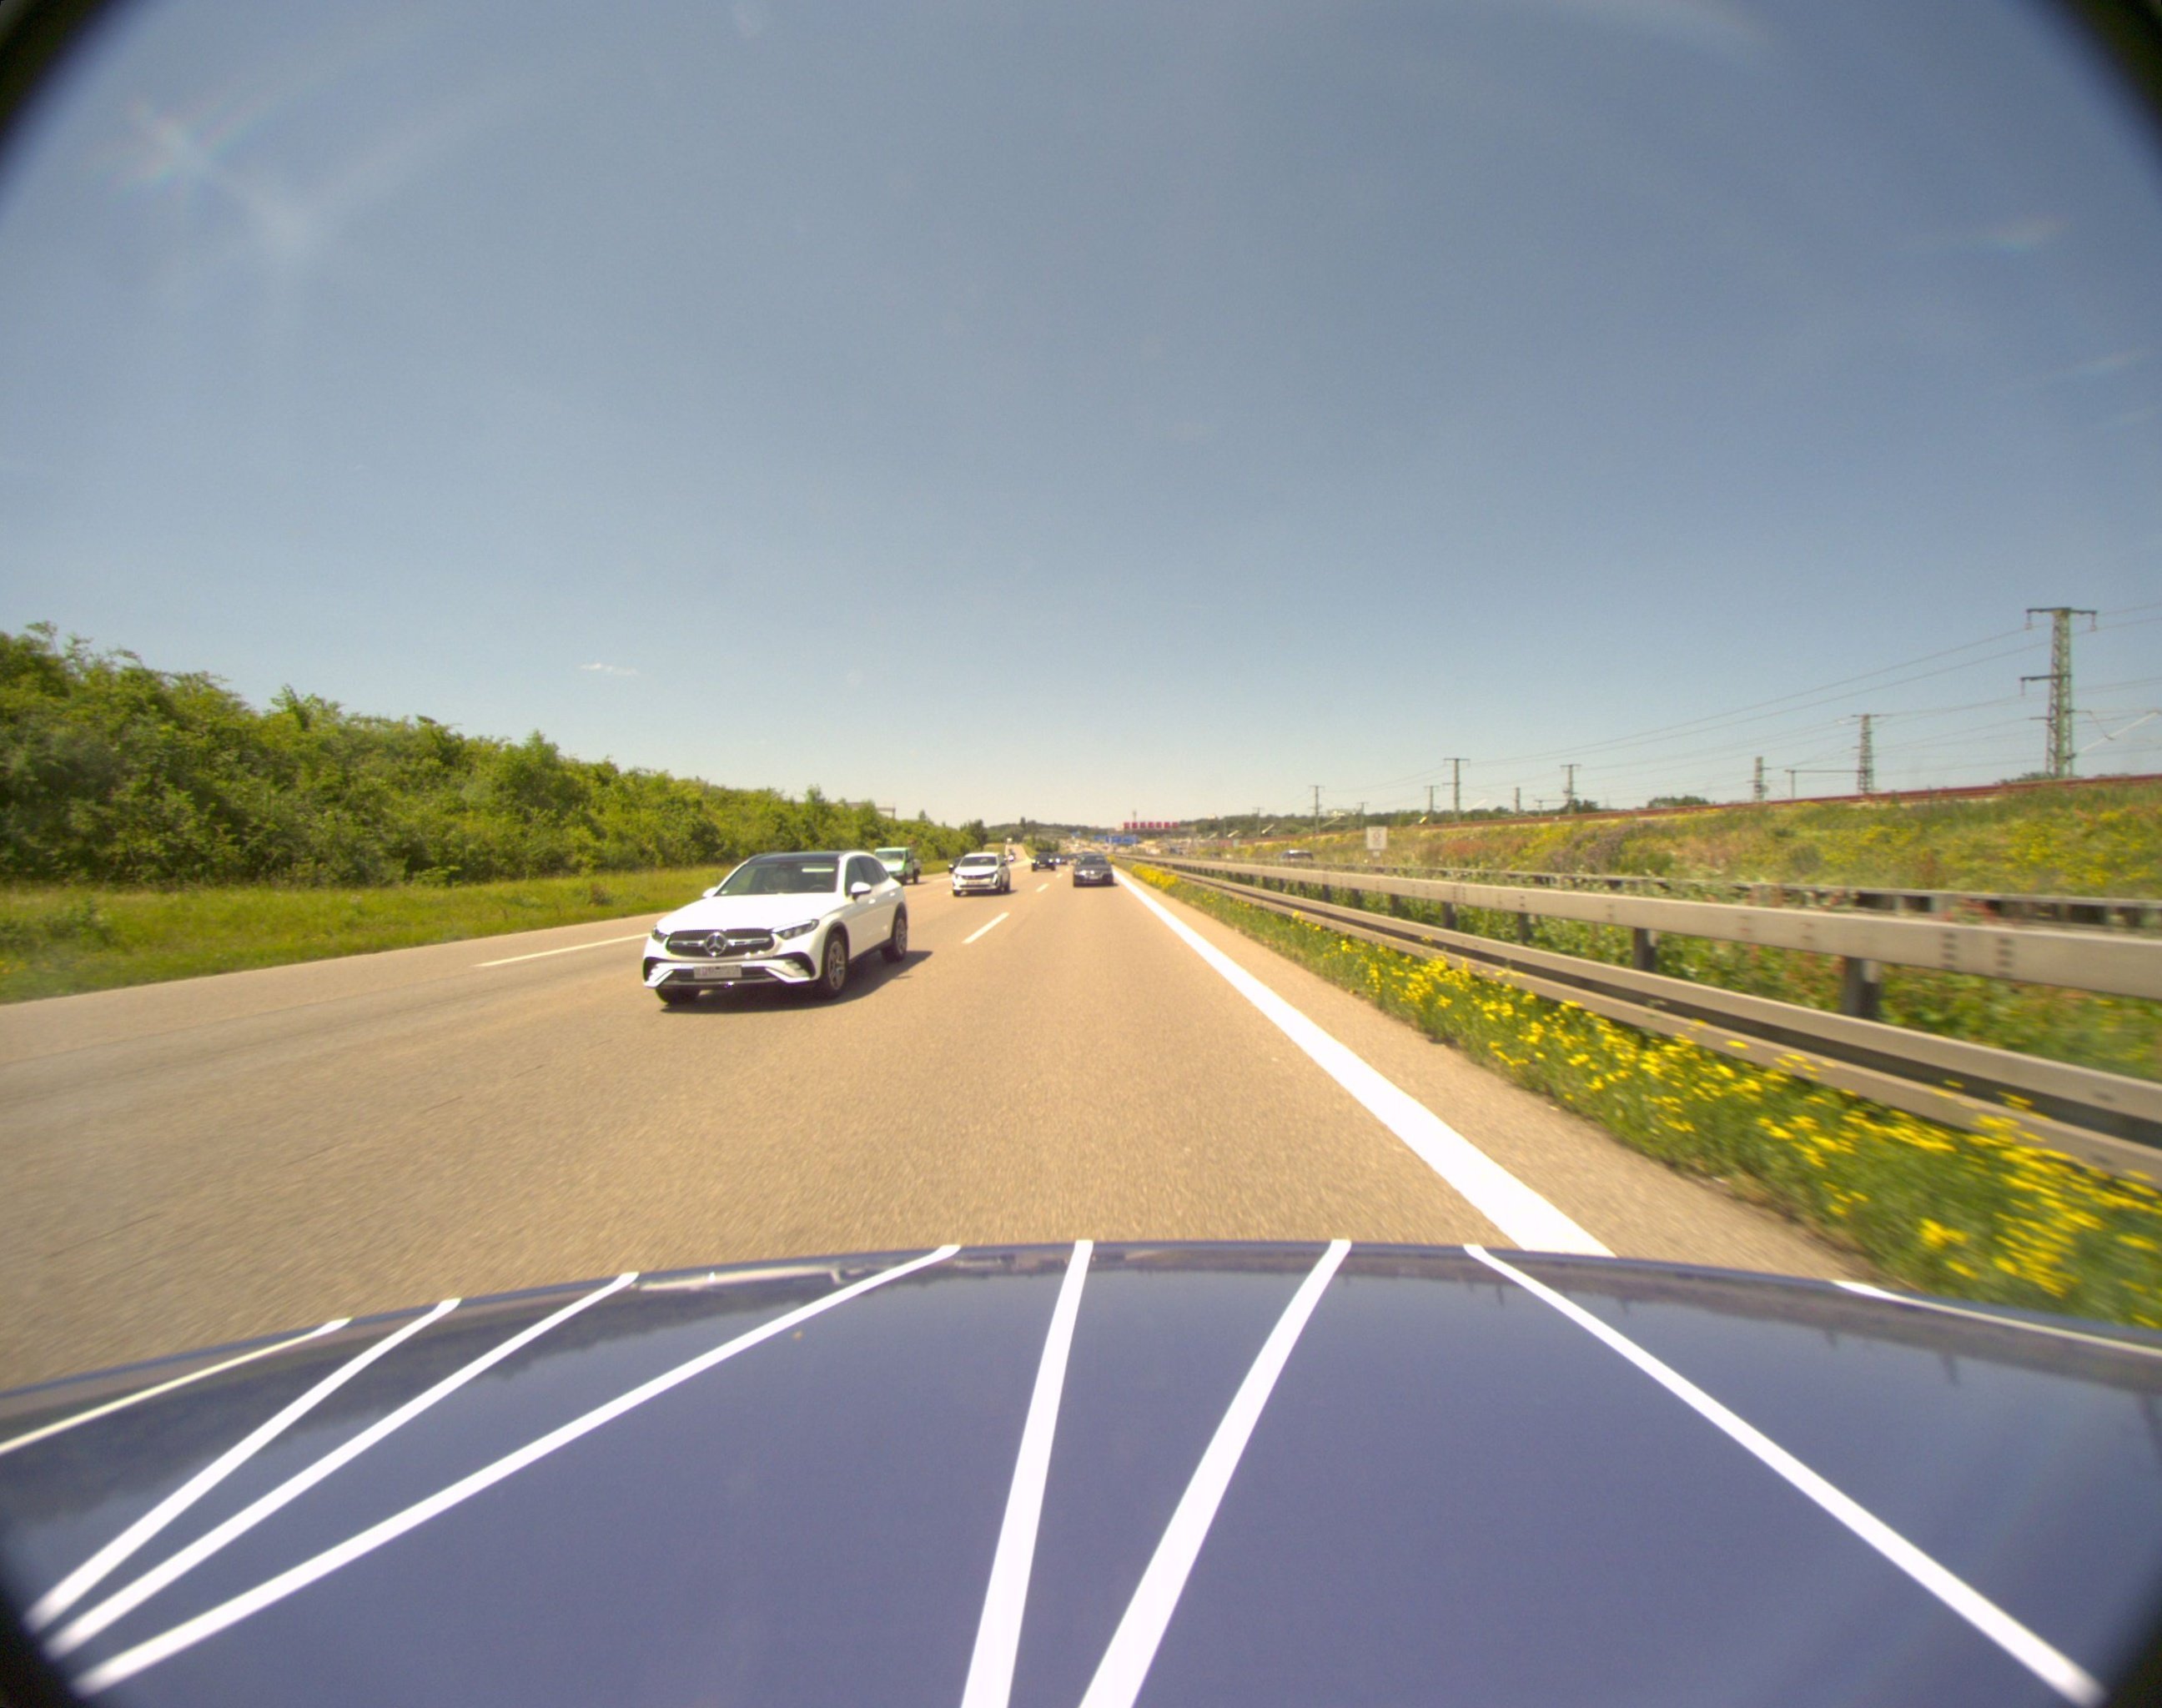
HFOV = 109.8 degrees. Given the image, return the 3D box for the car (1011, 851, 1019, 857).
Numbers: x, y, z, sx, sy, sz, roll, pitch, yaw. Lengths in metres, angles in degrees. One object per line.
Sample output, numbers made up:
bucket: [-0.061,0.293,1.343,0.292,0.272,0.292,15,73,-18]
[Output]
car: [-19.987,0.012,229.429,1.983,1.620,4.615,-2,1,-1]

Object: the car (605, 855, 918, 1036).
car: [-3.592,0.889,9.681,1.909,1.646,4.636,-2,0,1]

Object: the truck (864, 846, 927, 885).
truck: [-10.581,0.574,43.939,2.170,2.080,6.117,-1,1,-1]

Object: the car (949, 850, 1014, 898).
car: [-3.860,0.723,30.184,1.898,1.620,4.616,-2,1,0]

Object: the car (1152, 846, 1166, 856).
car: [15.067,-0.600,146.720,1.998,2.002,5.431,-1,1,0]

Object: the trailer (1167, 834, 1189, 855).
trailer: [18.032,-1.720,141.707,3.058,3.845,7.202,-1,1,1]

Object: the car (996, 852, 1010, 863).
car: [-13.040,0.575,127.439,1.983,1.620,4.615,-2,1,-1]

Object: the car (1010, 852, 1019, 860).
car: [-16.216,0.471,185.092,1.983,1.620,4.615,-2,1,-1]

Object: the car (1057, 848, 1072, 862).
car: [-2.112,0.114,95.602,1.752,1.462,3.998,-2,2,-2]

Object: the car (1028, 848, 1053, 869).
car: [-3.565,0.362,67.214,1.983,1.620,4.615,-2,1,-1]

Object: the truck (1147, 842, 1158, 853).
truck: [23.720,-2.146,251.172,2.864,3.446,7.780,-3,0,1]

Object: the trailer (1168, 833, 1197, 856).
trailer: [17.988,-1.666,135.549,3.058,3.845,15.975,-1,1,1]

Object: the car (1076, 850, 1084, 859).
car: [-0.227,0.011,183.561,1.999,2.002,3.999,-2,2,0]

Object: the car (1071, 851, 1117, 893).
car: [0.509,0.690,31.641,1.752,1.462,3.998,-2,2,0]

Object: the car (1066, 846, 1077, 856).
car: [-1.854,-0.624,150.783,1.999,2.002,3.999,-2,2,0]

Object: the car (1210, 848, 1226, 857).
car: [22.506,-0.284,125.270,1.922,1.506,4.238,-1,1,0]

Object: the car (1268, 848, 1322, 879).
car: [12.861,0.527,45.976,1.998,1.725,4.556,-1,1,0]
